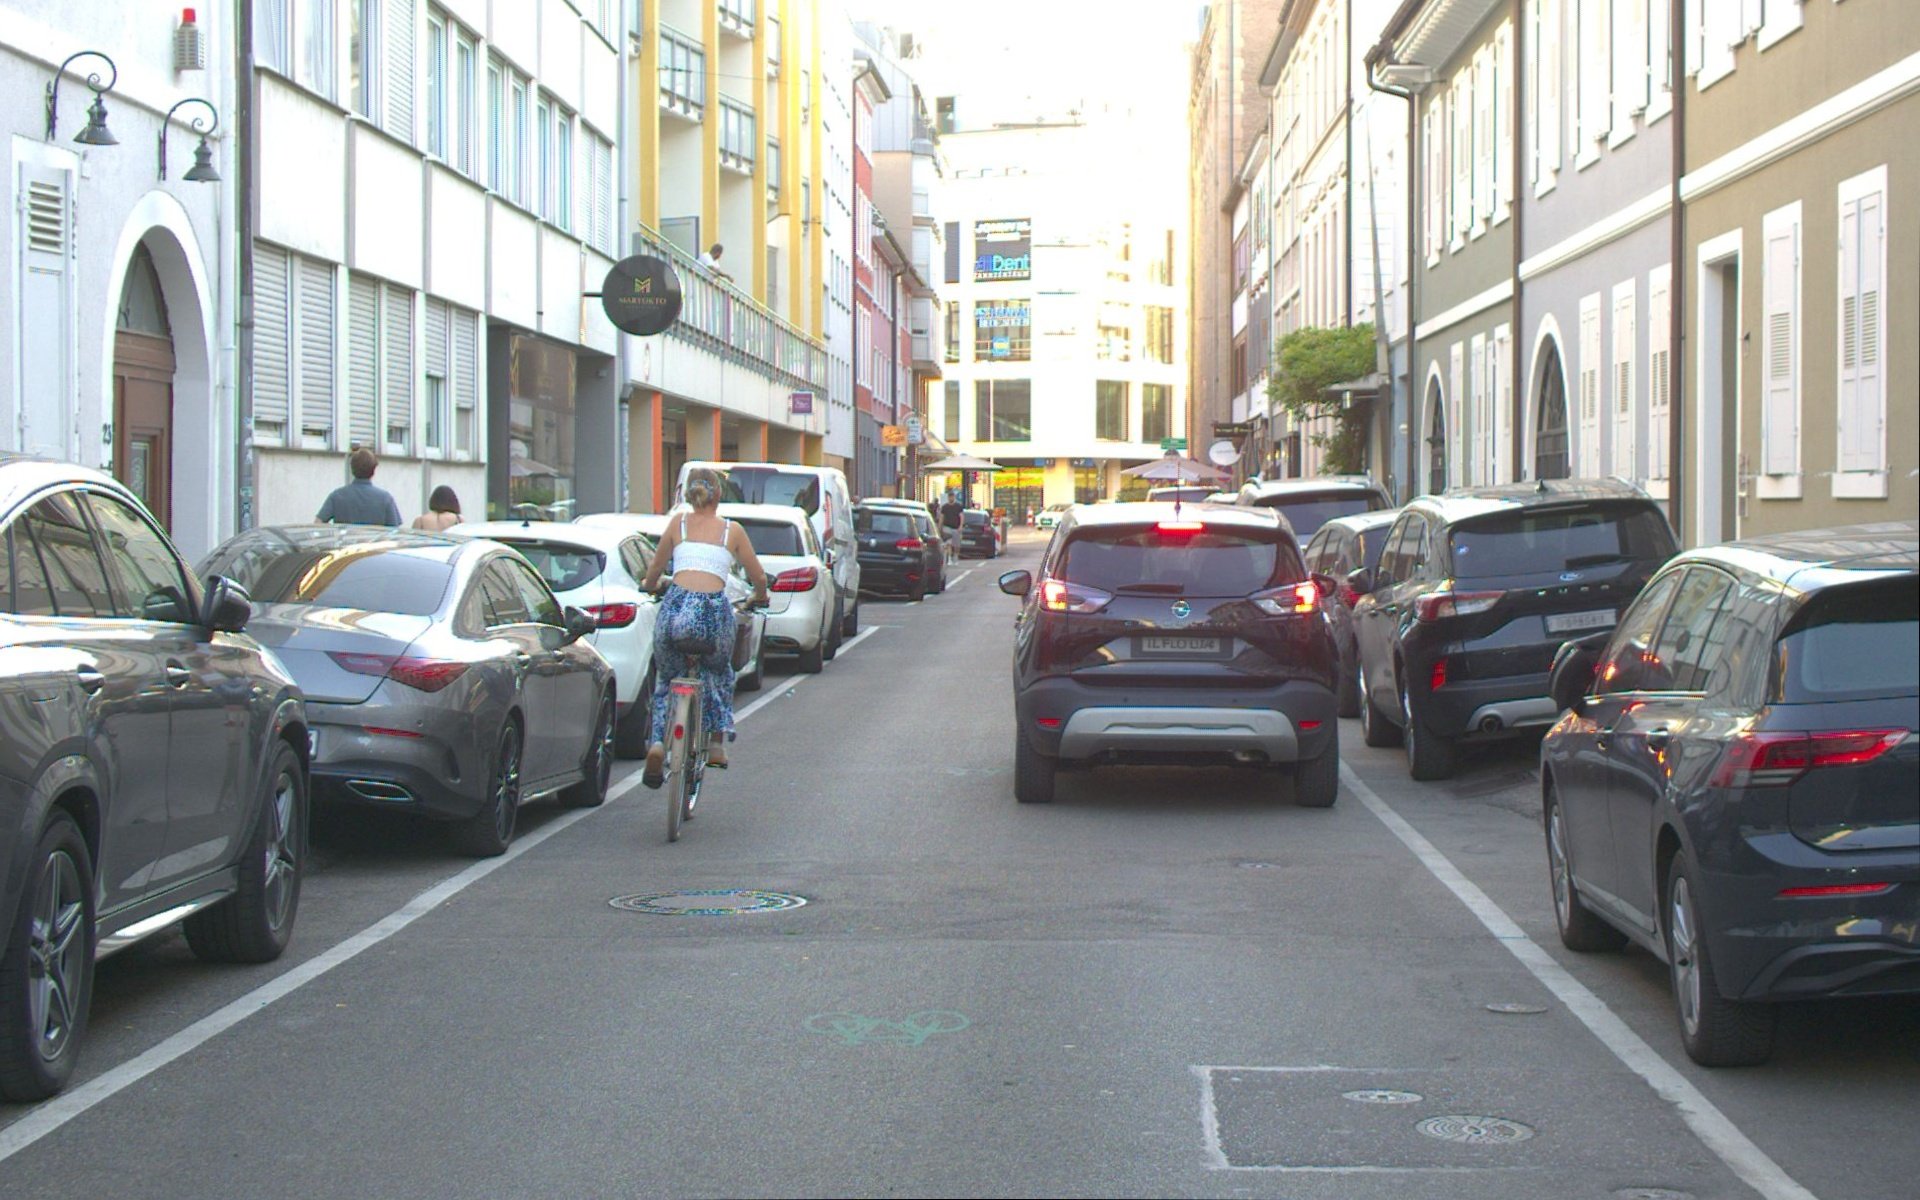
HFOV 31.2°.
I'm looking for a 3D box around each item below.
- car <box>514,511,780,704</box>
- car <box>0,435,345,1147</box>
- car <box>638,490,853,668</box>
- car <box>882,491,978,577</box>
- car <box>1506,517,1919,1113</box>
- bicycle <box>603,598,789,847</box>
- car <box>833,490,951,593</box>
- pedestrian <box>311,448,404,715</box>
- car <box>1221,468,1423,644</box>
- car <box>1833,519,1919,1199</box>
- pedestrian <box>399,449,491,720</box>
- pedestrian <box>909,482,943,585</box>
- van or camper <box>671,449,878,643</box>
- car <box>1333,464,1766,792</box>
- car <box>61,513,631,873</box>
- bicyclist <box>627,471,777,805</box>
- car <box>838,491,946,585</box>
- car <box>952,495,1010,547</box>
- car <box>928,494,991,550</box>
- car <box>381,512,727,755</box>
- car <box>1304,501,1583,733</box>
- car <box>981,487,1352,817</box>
[{"bbox_3d":[-2.470,0.008,27.878,1.653,1.406,3.605,2,2,2],"label":"car"},{"bbox_3d":[-3.251,0.374,10.089,1.998,1.701,4.536,2,2,1],"label":"car"},{"bbox_3d":[-1.997,-0.244,32.836,1.653,1.555,3.605,2,2,2],"label":"car"},{"bbox_3d":[-0.553,-1.294,66.316,1.653,1.555,3.605,2,2,2],"label":"car"},{"bbox_3d":[2.807,0.514,10.714,1.676,1.481,4.000,2,2,2],"label":"car"},{"bbox_3d":[-1.248,0.557,16.551,0.613,1.078,1.809,1,2,4],"label":"bicycle"},{"bbox_3d":[-1.064,-0.964,55.334,1.653,1.555,3.605,2,2,2],"label":"car"},{"bbox_3d":[-4.583,-0.142,26.169,0.610,2.007,0.450,1,1,-1],"label":"pedestrian"},{"bbox_3d":[3.435,-0.451,33.133,1.653,1.555,3.605,2,2,2],"label":"car"},{"bbox_3d":[2.483,0.634,4.069,1.819,1.524,5.071,-3,1,4],"label":"car"},{"bbox_3d":[-3.867,-0.122,25.815,0.610,2.007,0.450,1,1,-1],"label":"pedestrian"},{"bbox_3d":[-0.588,-1.148,59.271,0.554,1.746,0.568,1,1,-1],"label":"pedestrian"},{"bbox_3d":[-2.018,-0.639,38.682,1.844,2.006,4.678,2,2,2],"label":"van or camper"},{"bbox_3d":[3.429,0.092,20.789,1.918,1.732,4.153,2,2,1],"label":"car"},{"bbox_3d":[-2.773,0.334,16.514,1.918,1.429,4.294,2,2,0],"label":"car"},{"bbox_3d":[-1.236,0.170,16.563,0.621,1.569,0.683,1,1,3],"label":"bicyclist"},{"bbox_3d":[-1.173,-1.114,60.647,1.653,1.555,3.605,2,2,2],"label":"car"},{"bbox_3d":[0.679,-2.484,107.431,1.653,1.555,3.605,2,2,2],"label":"car"},{"bbox_3d":[-0.003,-2.306,100.686,1.653,1.555,3.605,2,2,2],"label":"car"},{"bbox_3d":[-2.596,0.152,22.789,1.653,1.406,3.902,2,2,2],"label":"car"},{"bbox_3d":[3.517,0.065,25.543,1.653,1.555,3.605,2,2,2],"label":"car"},{"bbox_3d":[1.094,0.201,19.317,1.819,1.612,4.000,2,2,2],"label":"car"}]
